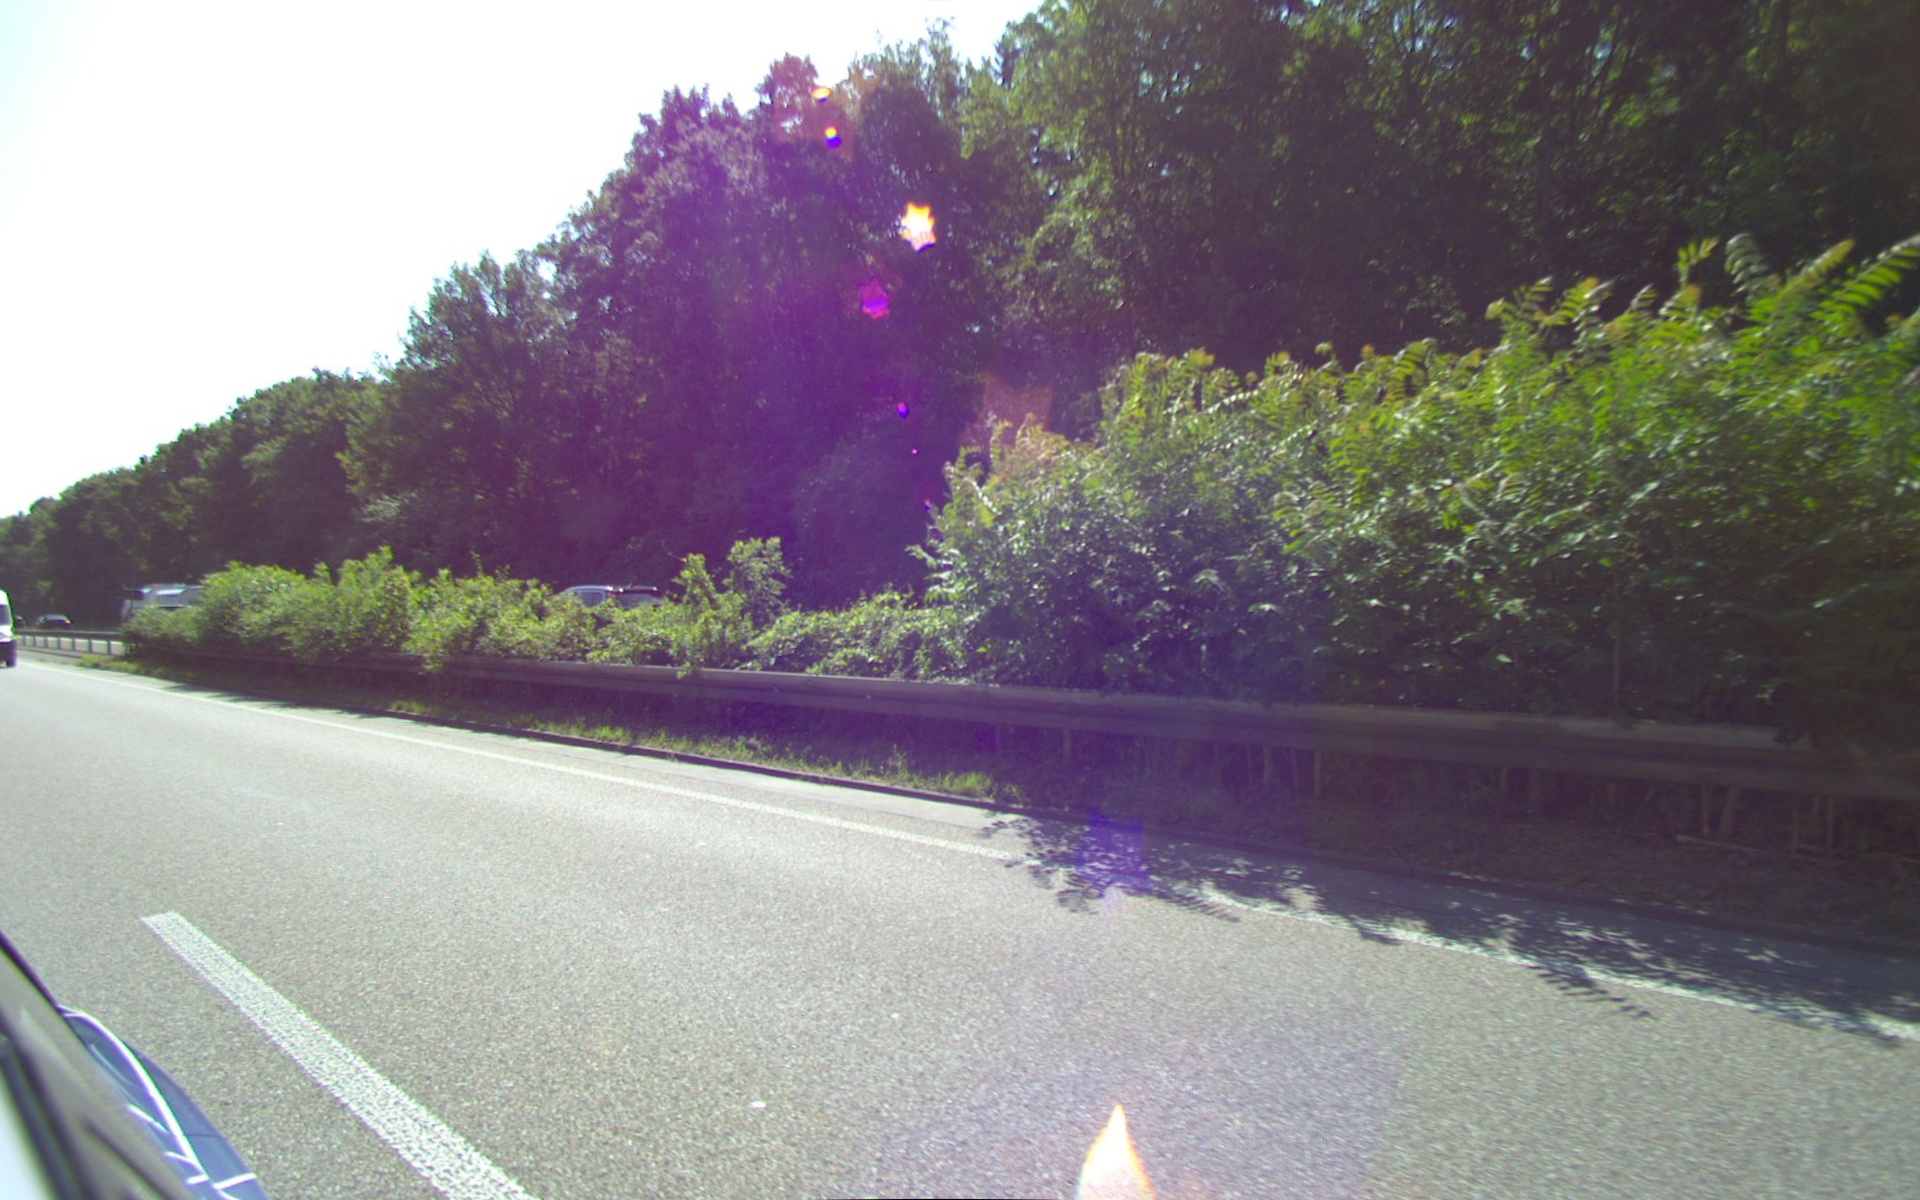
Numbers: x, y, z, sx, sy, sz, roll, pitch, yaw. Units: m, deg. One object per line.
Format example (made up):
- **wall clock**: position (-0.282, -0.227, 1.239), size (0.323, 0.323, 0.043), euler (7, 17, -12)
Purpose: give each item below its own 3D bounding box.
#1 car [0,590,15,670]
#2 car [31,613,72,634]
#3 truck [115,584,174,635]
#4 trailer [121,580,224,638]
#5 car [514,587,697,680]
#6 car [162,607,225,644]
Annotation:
- **car**: position (-31.751, 0.961, 32.181), size (4.635, 2.462, 2.020), euler (-1, 0, 41)
- **car**: position (-66.764, 1.710, 74.364), size (4.242, 1.491, 1.705), euler (-1, -1, 41)
- **truck**: position (-54.425, 0.645, 67.524), size (3.998, 3.283, 2.400), euler (-1, 0, 41)
- **trailer**: position (-48.949, 0.576, 62.653), size (14.426, 3.260, 2.466), euler (-1, 0, 42)
- **car**: position (-7.739, 0.677, 21.857), size (4.551, 1.816, 1.822), euler (-1, 0, 43)
- **car**: position (-34.141, 1.129, 45.036), size (3.649, 1.559, 1.548), euler (-1, 0, 41)
